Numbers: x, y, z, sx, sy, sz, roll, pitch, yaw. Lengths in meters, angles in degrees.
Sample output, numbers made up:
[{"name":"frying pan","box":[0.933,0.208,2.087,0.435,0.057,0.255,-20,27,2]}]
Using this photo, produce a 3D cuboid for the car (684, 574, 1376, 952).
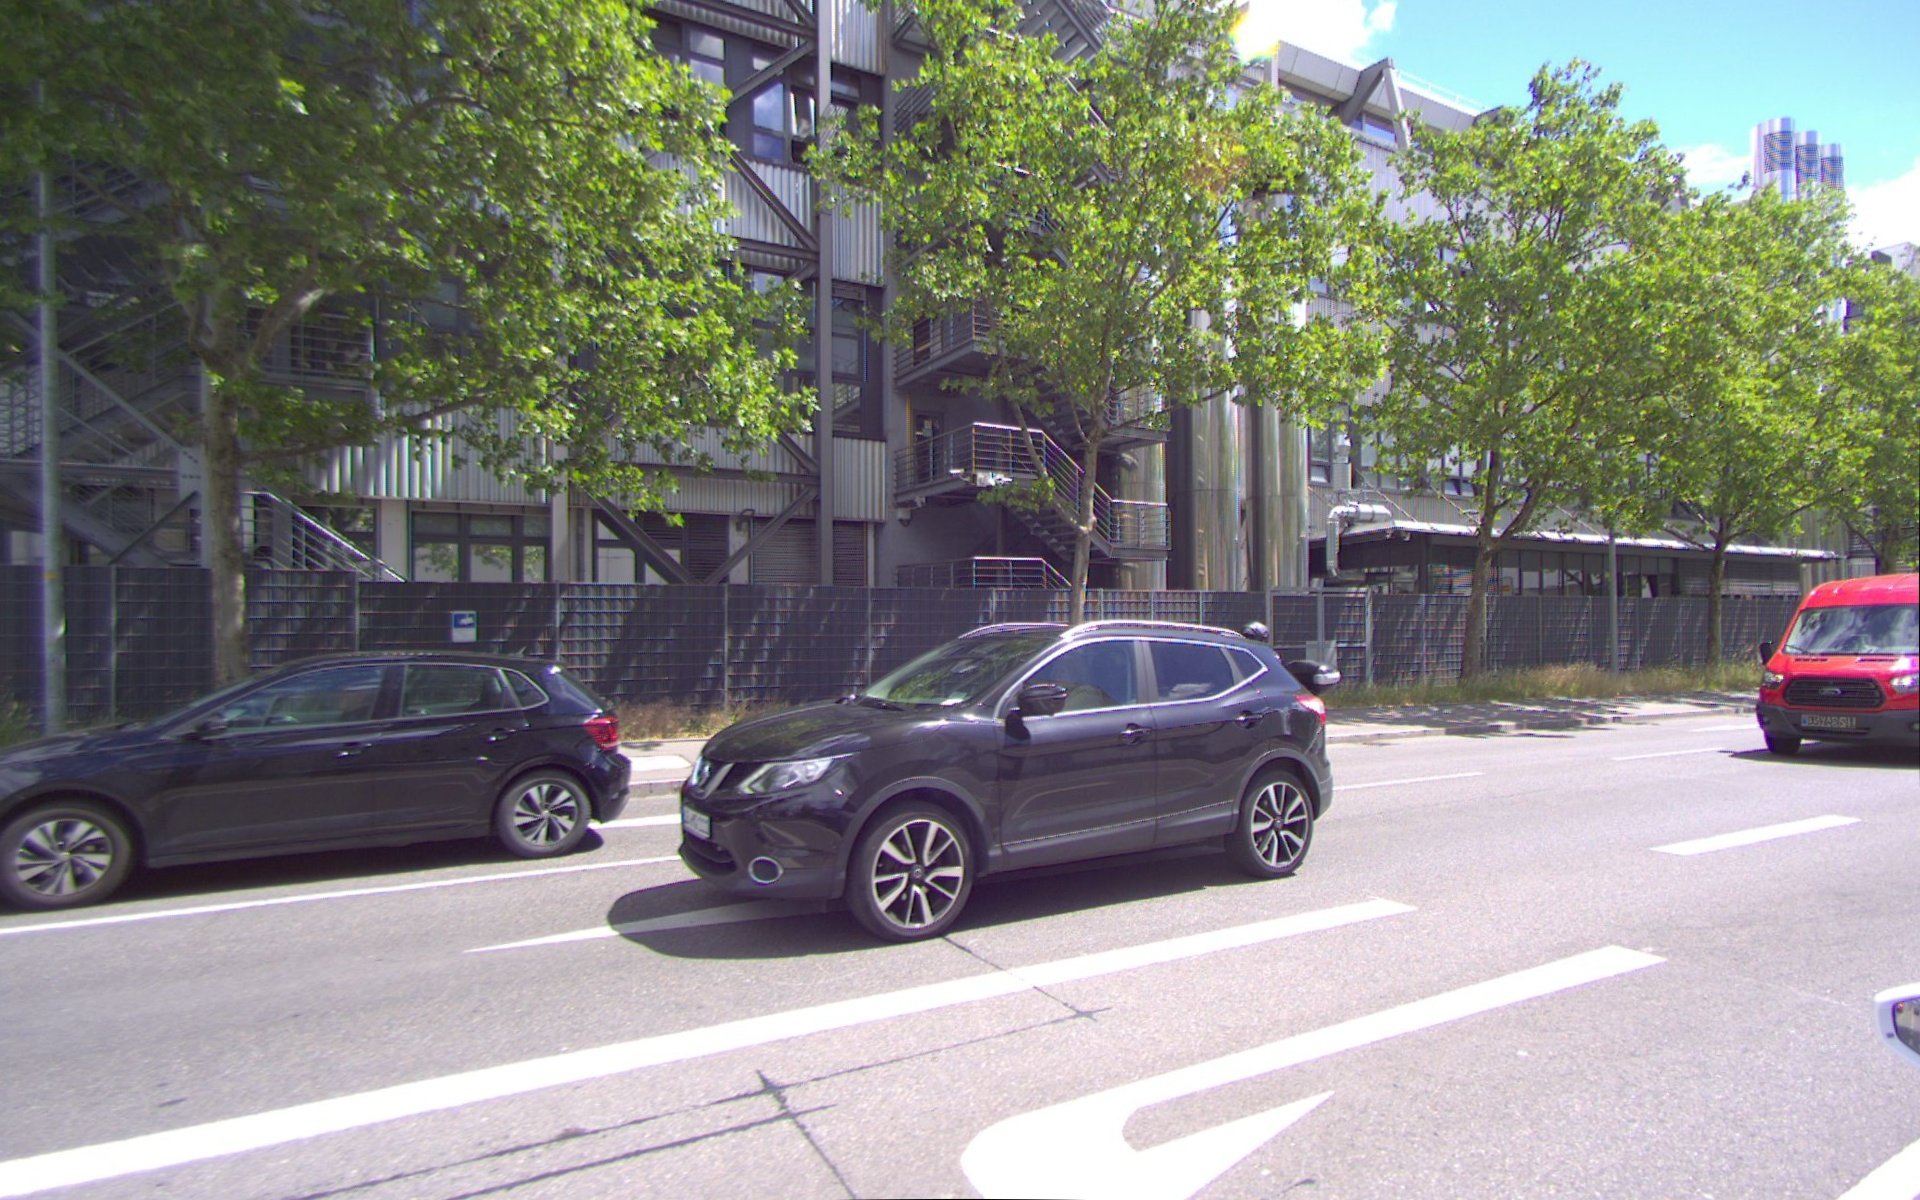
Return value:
[{"name":"car","box":[0.557,0.848,6.400,4.166,1.705,1.728,2,-4,-31]}]

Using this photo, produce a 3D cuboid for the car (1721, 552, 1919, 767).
[{"name":"car","box":[13.250,0.805,14.143,5.414,2.540,2.054,1,-3,-30]}]

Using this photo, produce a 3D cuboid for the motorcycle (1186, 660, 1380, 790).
[{"name":"motorcycle","box":[3.532,1.291,10.860,2.352,1.236,0.670,2,-1,-34]}]

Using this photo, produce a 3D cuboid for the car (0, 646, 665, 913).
[{"name":"car","box":[-4.200,1.056,6.980,3.874,1.447,1.569,2,-3,-31]}]

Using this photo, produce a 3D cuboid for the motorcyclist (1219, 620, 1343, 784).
[{"name":"motorcyclist","box":[3.451,1.057,10.805,1.083,1.644,0.729,2,0,-33]}]
